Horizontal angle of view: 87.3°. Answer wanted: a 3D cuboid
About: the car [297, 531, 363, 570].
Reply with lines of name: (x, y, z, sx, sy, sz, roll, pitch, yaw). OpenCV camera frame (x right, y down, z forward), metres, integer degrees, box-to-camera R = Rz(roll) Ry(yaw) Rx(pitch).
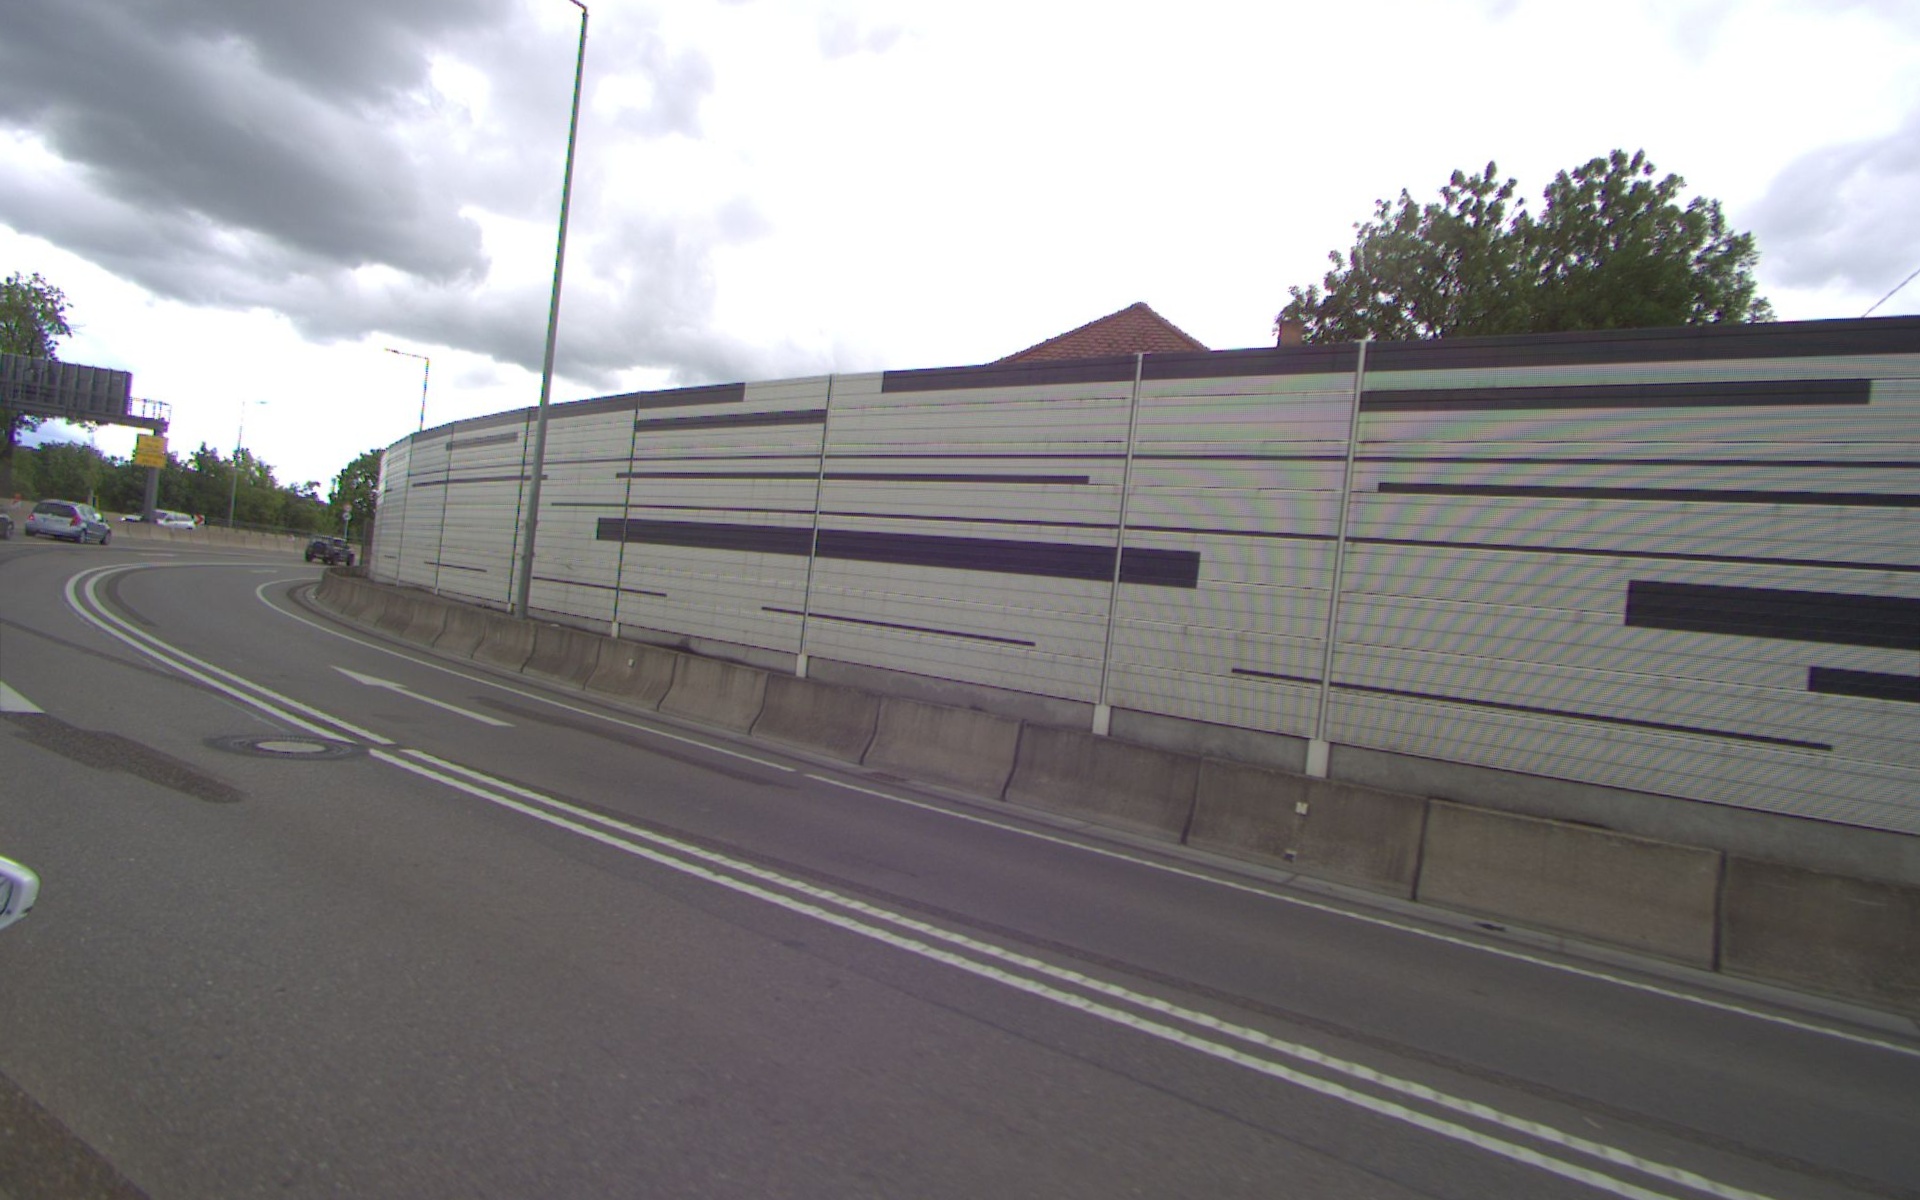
car: (-38.910, -3.027, 62.230, 1.967, 1.881, 3.994, 7, -2, -11)

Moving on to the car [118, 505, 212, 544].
car: (-48.080, -4.524, 60.999, 2.070, 1.569, 5.136, 9, -2, -9)

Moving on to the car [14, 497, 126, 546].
car: (-36.058, -3.138, 40.900, 1.900, 1.506, 4.047, 8, -1, -20)

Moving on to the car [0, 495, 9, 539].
car: (-32.413, -2.821, 32.364, 1.802, 1.452, 4.031, 7, -1, -32)
